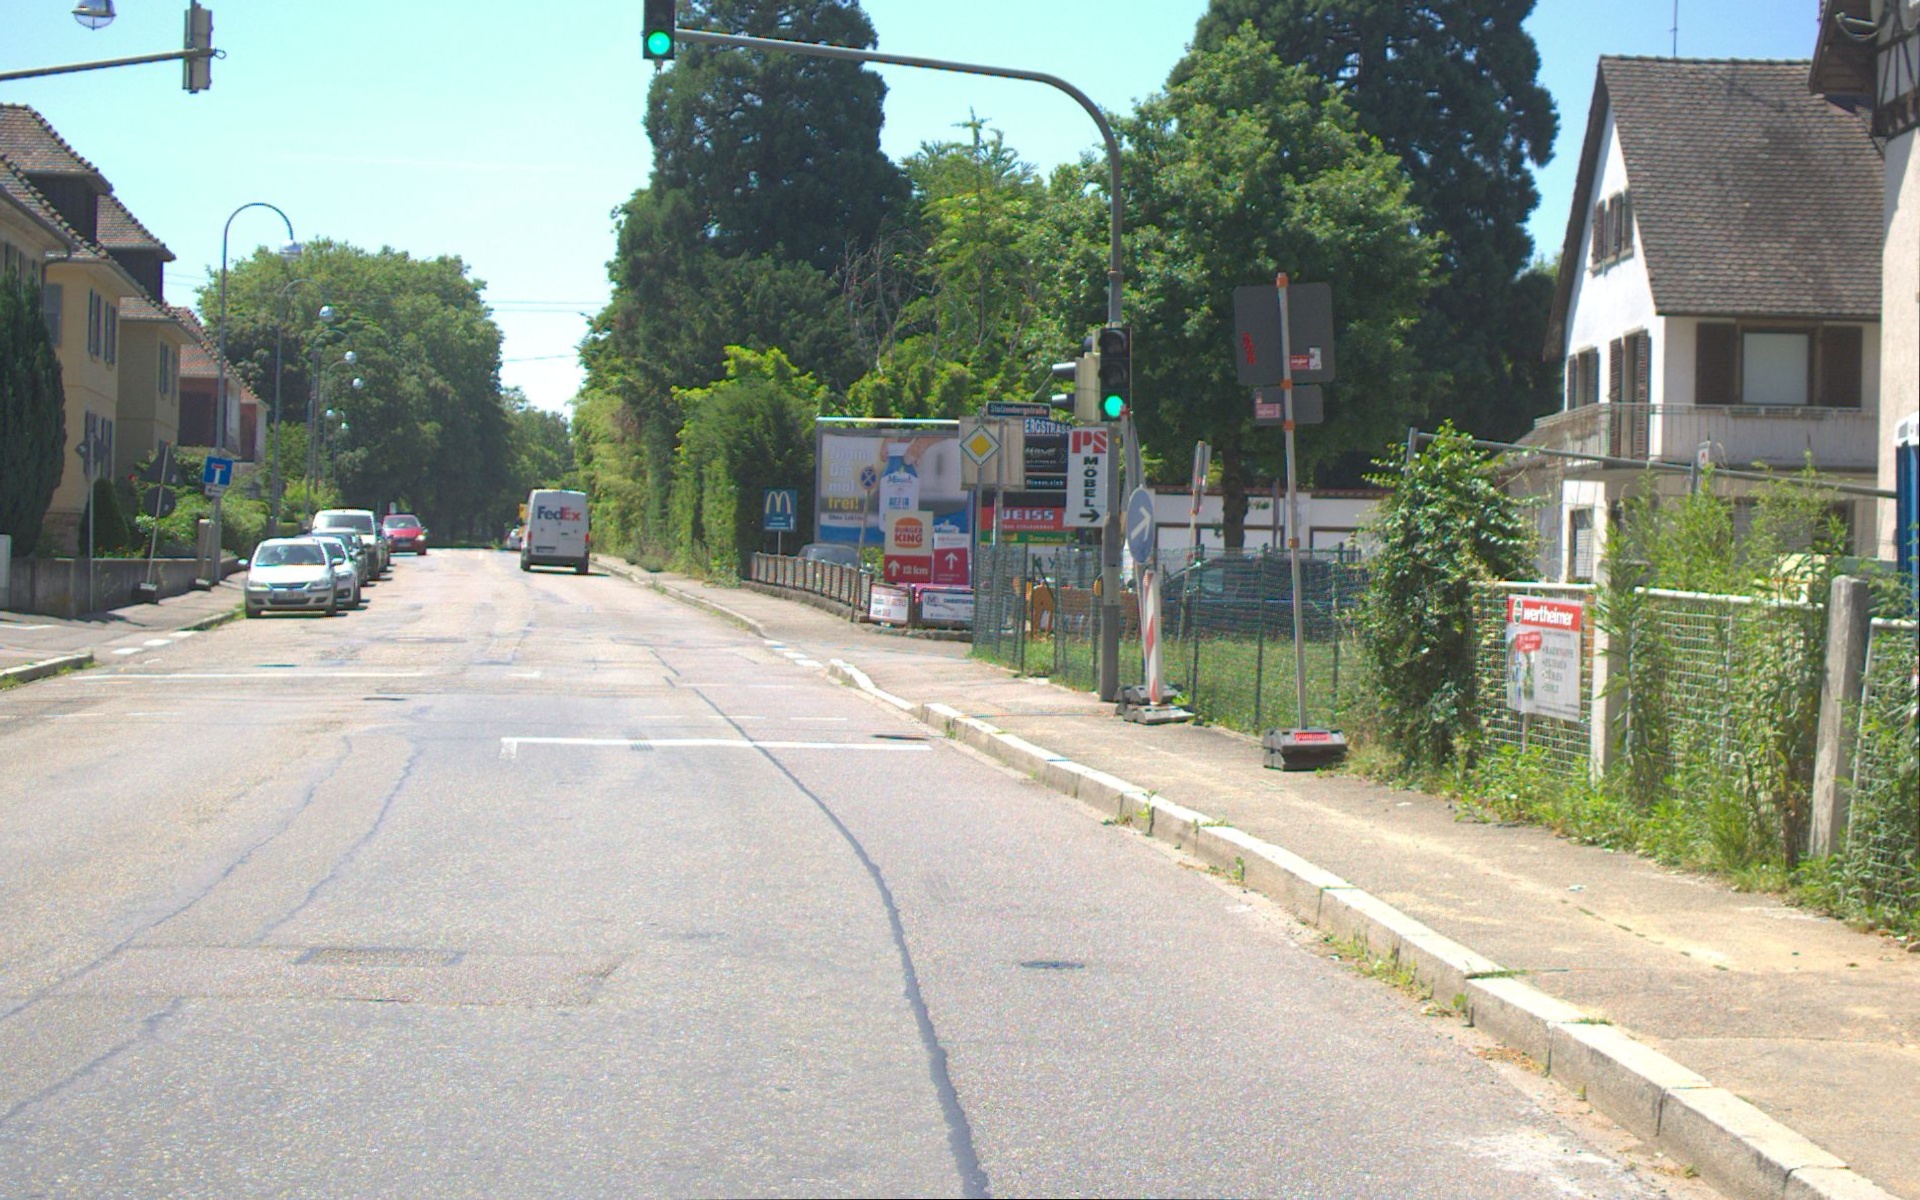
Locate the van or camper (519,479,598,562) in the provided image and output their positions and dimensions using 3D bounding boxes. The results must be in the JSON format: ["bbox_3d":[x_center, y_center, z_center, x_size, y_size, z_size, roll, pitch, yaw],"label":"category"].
[{"bbox_3d":[-12.594,-2.479,107.641,2.262,2.519,4.761,0,1,-9],"label":"van or camper"}]

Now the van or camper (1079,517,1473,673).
[{"bbox_3d":[4.549,-0.078,49.712,5.251,2.007,1.910,2,1,-12],"label":"van or camper"}]

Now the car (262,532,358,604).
[{"bbox_3d":[-12.981,-0.666,68.844,1.794,1.397,4.220,0,1,-9],"label":"car"}]

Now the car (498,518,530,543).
[{"bbox_3d":[-30.036,-4.682,231.703,1.993,1.656,4.001,1,1,-9],"label":"car"}]

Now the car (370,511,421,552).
[{"bbox_3d":[-21.604,-2.624,131.632,1.814,1.560,3.697,0,1,-8],"label":"car"}]

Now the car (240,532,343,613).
[{"bbox_3d":[-12.390,-0.531,63.863,1.759,1.442,3.925,0,1,-9],"label":"car"}]

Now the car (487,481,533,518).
[{"bbox_3d":[-20.783,-4.622,158.740,1.993,1.656,4.001,1,1,-9],"label":"car"}]
